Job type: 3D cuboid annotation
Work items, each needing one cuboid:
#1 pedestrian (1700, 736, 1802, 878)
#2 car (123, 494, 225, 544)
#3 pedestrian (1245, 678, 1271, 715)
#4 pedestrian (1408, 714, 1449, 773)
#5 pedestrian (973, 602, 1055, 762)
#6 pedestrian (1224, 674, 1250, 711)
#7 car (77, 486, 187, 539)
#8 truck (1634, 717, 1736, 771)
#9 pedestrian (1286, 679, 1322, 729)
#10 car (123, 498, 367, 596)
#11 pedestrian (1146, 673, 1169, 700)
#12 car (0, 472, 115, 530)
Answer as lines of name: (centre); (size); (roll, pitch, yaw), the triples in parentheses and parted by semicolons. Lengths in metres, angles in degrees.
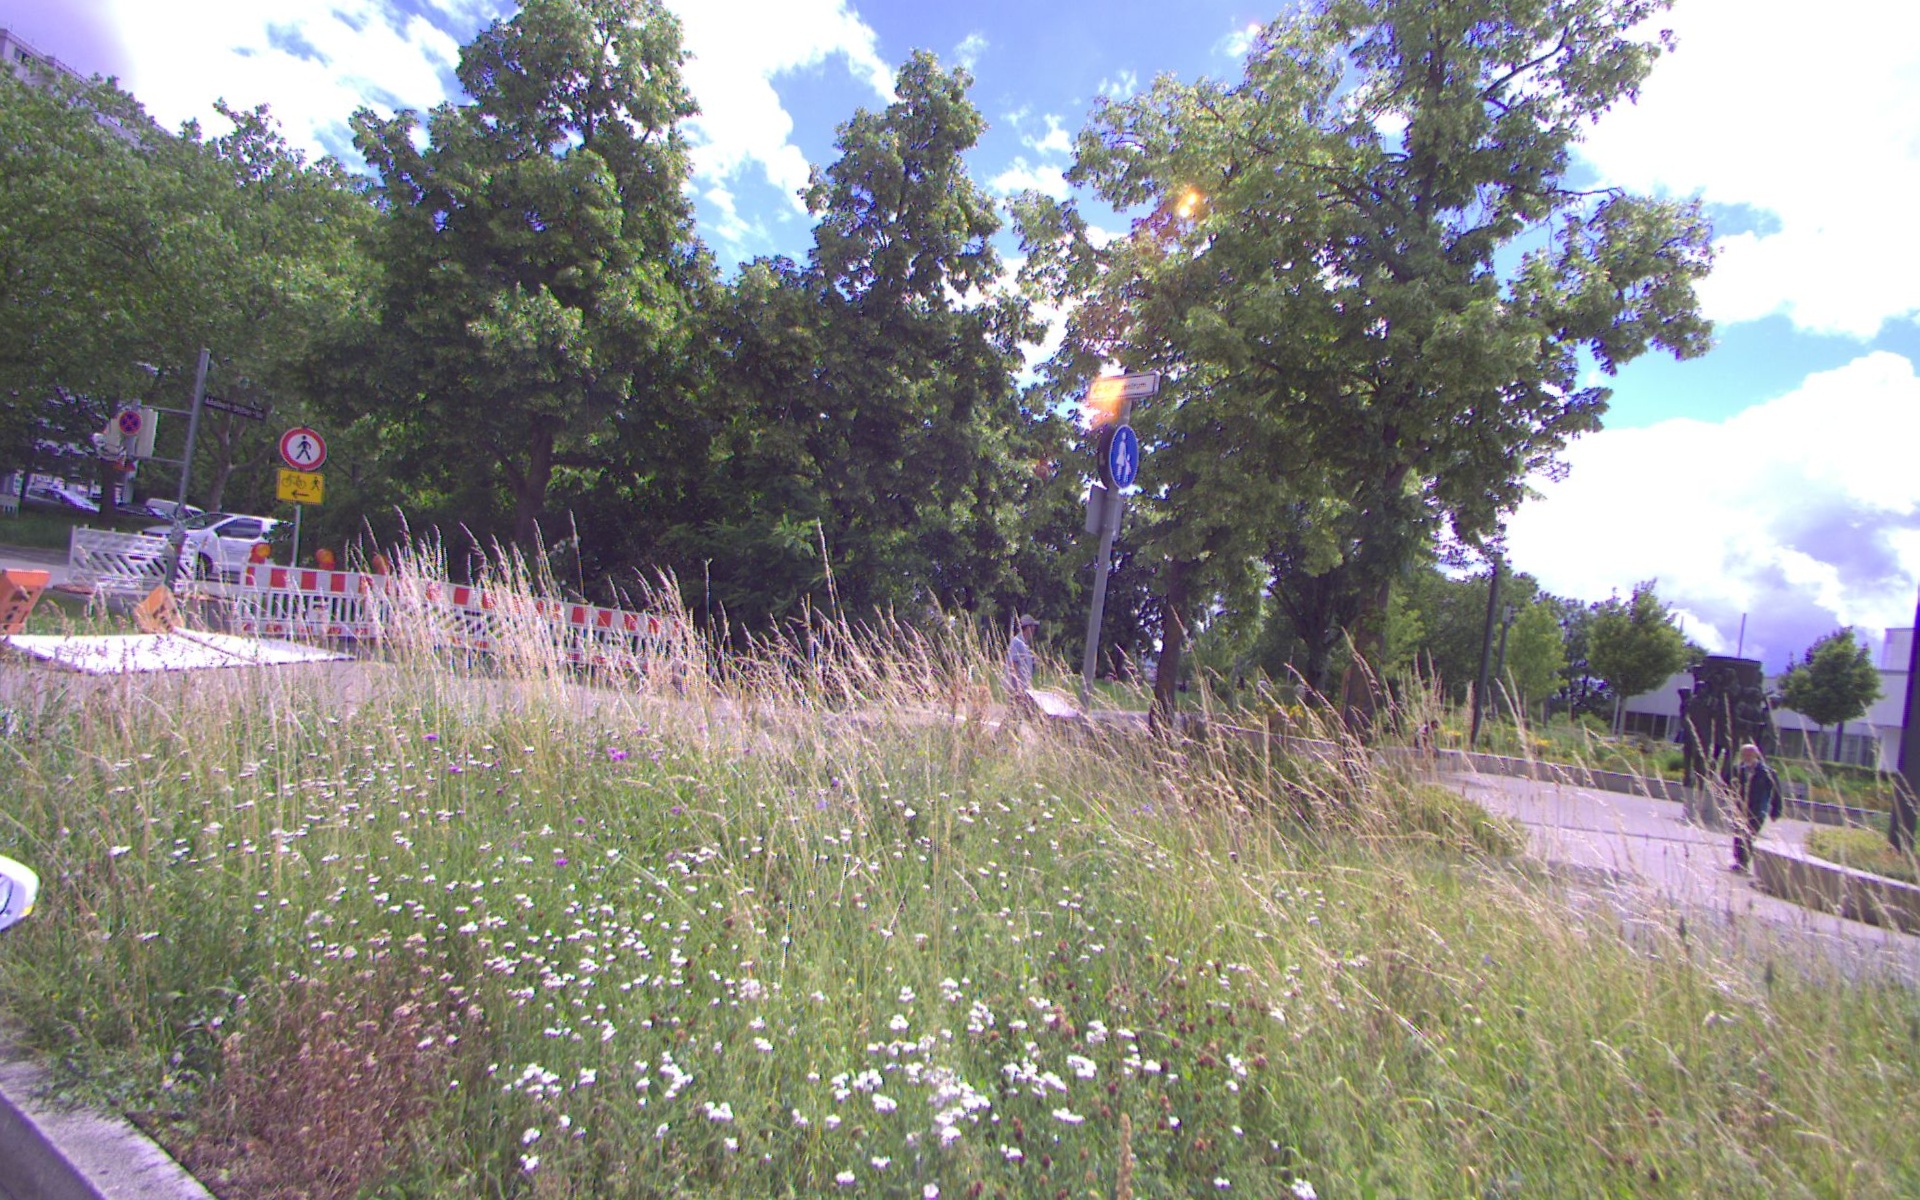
pedestrian: (10.276, 2.666, 13.066); (0.759, 1.644, 0.763); (8, -1, -41)
car: (-44.243, -4.527, 56.687); (3.926, 2.037, 2.001); (8, -1, 0)
pedestrian: (14.918, 4.814, 50.301); (0.879, 1.732, 0.817); (8, -1, 30)
pedestrian: (10.783, 3.302, 23.143); (0.623, 1.236, 0.618); (7, -1, 36)
pedestrian: (0.690, 1.020, 12.669); (0.750, 1.862, 0.773); (7, -1, 8)
pedestrian: (13.930, 4.659, 50.598); (0.872, 1.681, 0.817); (8, -1, 30)
car: (-43.789, -4.600, 53.283); (3.926, 2.037, 2.001); (8, -1, 0)
truck: (37.319, 7.385, 51.920); (1.965, 2.037, 3.999); (8, -1, -4)
pedestrian: (15.300, 4.618, 44.759); (1.137, 2.037, 0.817); (8, 0, 30)
car: (-19.717, -1.389, 28.048); (1.915, 1.895, 5.090); (7, -2, 28)
pedestrian: (12.878, 5.650, 65.522); (1.135, 1.571, 0.818); (8, -1, -2)
car: (-43.695, -4.777, 48.567); (3.926, 2.037, 2.001); (8, -1, 0)
